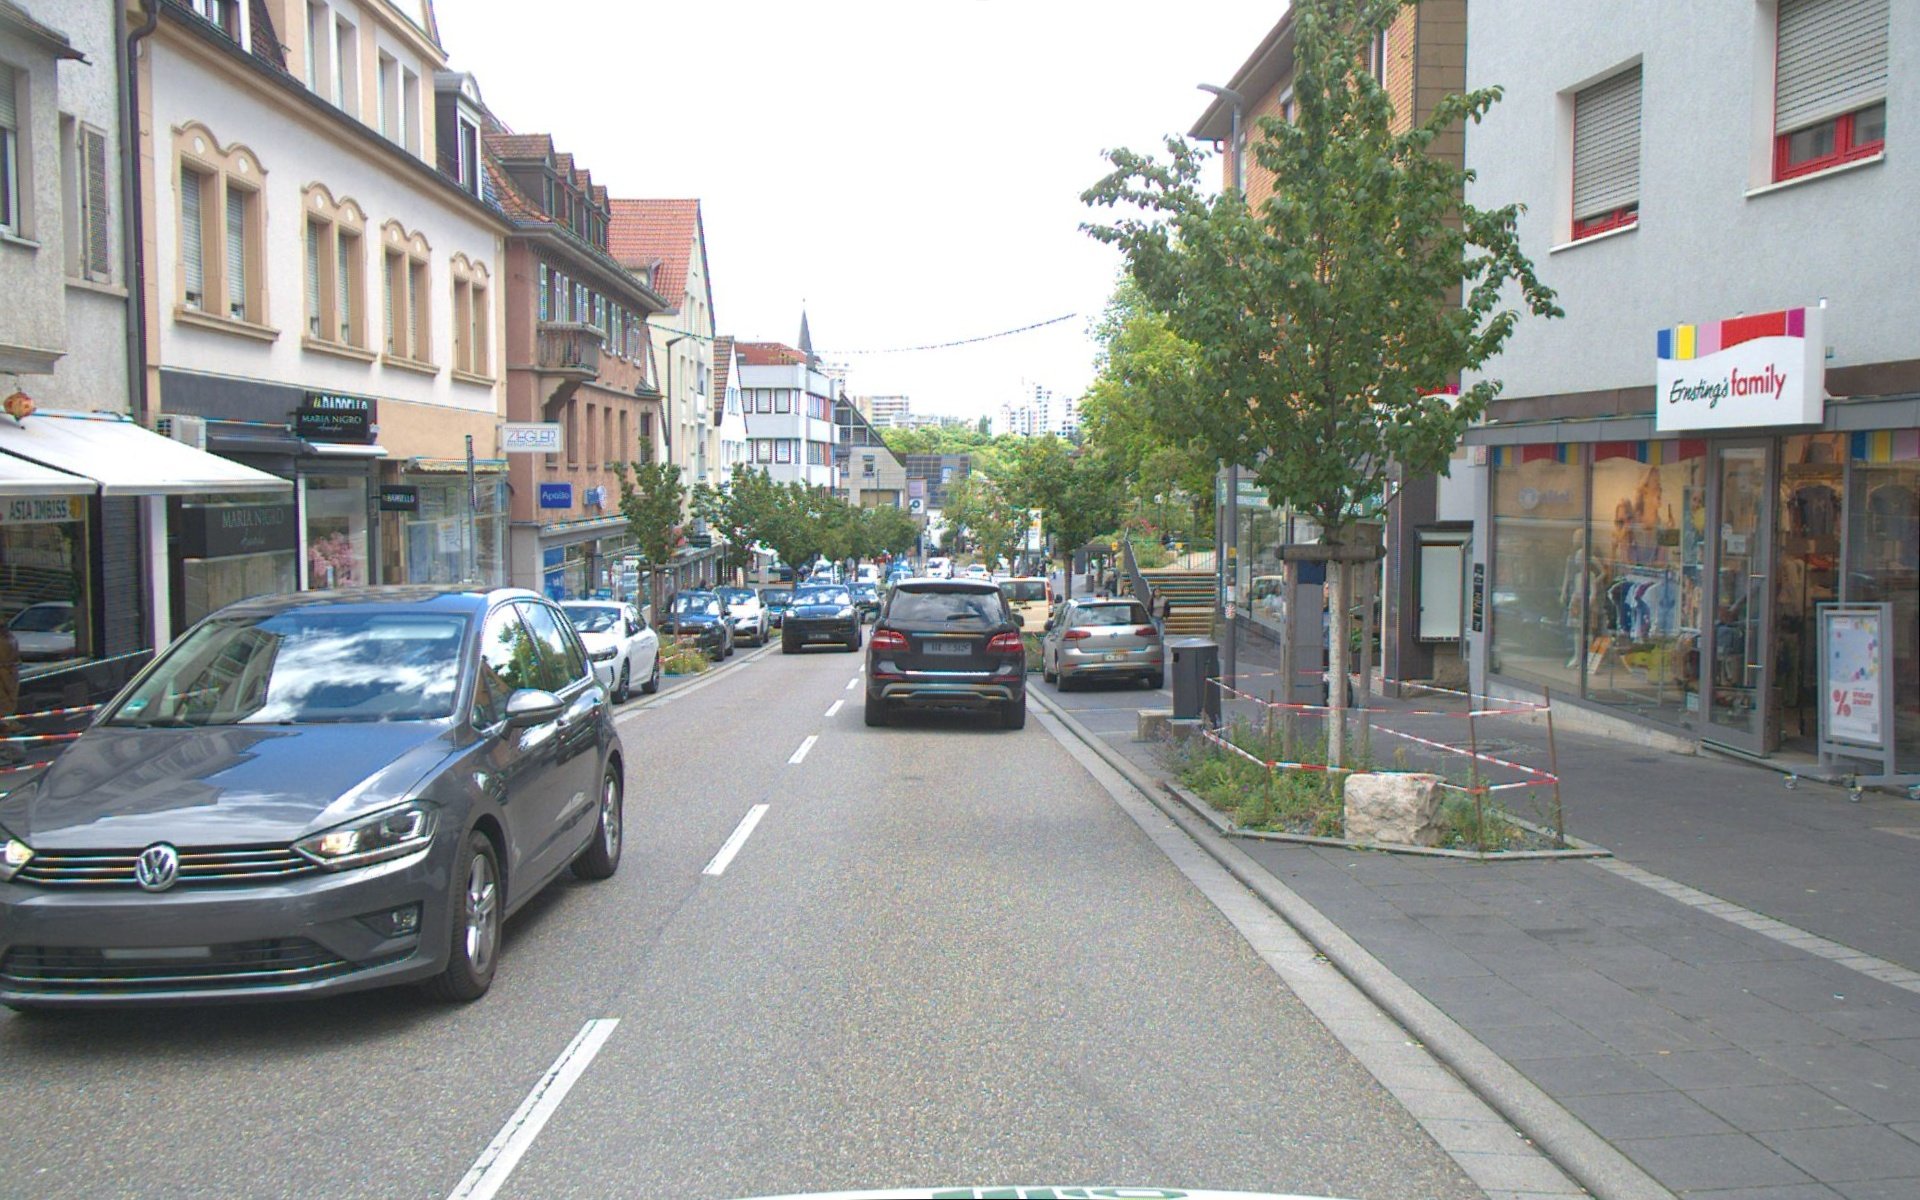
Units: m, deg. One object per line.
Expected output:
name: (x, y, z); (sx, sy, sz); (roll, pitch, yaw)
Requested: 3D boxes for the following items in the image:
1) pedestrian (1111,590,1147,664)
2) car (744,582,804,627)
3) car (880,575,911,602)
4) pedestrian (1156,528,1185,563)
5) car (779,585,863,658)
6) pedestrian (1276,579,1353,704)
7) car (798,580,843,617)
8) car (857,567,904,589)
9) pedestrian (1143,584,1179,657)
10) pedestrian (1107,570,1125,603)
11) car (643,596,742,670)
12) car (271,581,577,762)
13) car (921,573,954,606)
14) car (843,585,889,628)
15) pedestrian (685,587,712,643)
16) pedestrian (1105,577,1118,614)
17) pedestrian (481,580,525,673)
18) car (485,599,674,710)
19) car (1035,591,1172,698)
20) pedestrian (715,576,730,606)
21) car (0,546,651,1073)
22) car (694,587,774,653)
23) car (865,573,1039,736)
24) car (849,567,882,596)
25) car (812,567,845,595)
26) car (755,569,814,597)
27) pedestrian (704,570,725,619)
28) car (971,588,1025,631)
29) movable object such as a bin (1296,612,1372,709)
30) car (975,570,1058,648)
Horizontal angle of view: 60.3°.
pedestrian: (3.864, 0.612, 37.883); (0.658, 1.661, 0.669); (-2, 0, -4)
car: (-6.981, 0.140, 62.421); (1.888, 1.522, 4.260); (2, 1, -2)
car: (-3.820, -0.668, 98.323); (1.776, 1.534, 3.999); (-1, 1, -2)
pedestrian: (7.833, -2.020, 61.549); (0.970, 1.252, 0.984); (0, 0, 0)
car: (-3.581, 0.521, 43.228); (1.952, 1.748, 4.445); (-2, 0, -2)
pedestrian: (4.771, 0.545, 22.286); (0.720, 1.612, 1.000); (-3, 0, -2)
car: (-6.662, -0.097, 79.293); (1.887, 1.657, 4.261); (0, 1, -1)
car: (-7.517, -2.071, 156.294); (4.109, 2.065, 1.783); (0, 0, 33)
pedestrian: (4.637, 0.467, 38.213); (0.658, 1.661, 0.669); (-2, 0, -4)
pedestrian: (9.552, -0.818, 101.367); (1.027, 1.946, 0.937); (-2, 0, 6)
car: (-6.174, 0.716, 38.601); (1.888, 1.523, 4.259); (-1, 1, -4)
car: (-5.502, 0.651, 17.651); (1.888, 1.649, 4.637); (1, 0, -2)
car: (-1.649, -0.798, 122.750); (2.128, 2.405, 4.624); (-1, 0, 3)
car: (-3.758, 0.241, 66.365); (1.729, 1.645, 4.031); (-1, 0, -2)
pedestrian: (-7.954, 0.451, 50.244); (0.712, 1.696, 0.720); (0, 0, -2)
pedestrian: (6.727, -0.200, 73.510); (0.556, 1.614, 0.666); (-1, 0, 7)
pedestrian: (-8.090, 0.451, 29.300); (0.536, 1.603, 0.863); (-1, 1, -2)
car: (-5.658, 0.758, 25.126); (1.887, 1.455, 4.262); (1, 1, 0)
car: (2.329, 0.681, 27.754); (1.713, 1.491, 4.073); (-4, 1, -2)
pedestrian: (-10.423, -0.390, 72.516); (0.553, 1.304, 0.758); (0, 0, -2)
car: (-2.656, 0.671, 7.410); (1.782, 1.646, 4.135); (-2, 0, -1)
car: (-6.248, 0.507, 46.175); (1.889, 1.623, 4.454); (2, 1, -4)
car: (-0.120, 0.575, 20.554); (1.904, 1.770, 4.178); (1, 1, -1)
car: (-5.906, -1.170, 103.602); (1.887, 1.657, 4.261); (2, 1, -1)
car: (-8.444, -1.257, 106.511); (1.888, 1.657, 4.412); (2, 1, -3)
car: (-12.046, -1.170, 113.765); (3.910, 1.780, 1.998); (-2, 1, -5)
pedestrian: (-8.536, -0.193, 57.569); (0.628, 1.696, 0.720); (0, 0, -2)
car: (1.420, 0.327, 63.139); (1.898, 1.482, 4.707); (-1, 1, -1)
movable object such as a bin: (4.823, 0.768, 21.358); (0.707, 1.178, 0.906); (-2, 0, -2)
car: (1.486, 0.194, 45.143); (1.899, 1.924, 4.705); (-2, 1, -2)
